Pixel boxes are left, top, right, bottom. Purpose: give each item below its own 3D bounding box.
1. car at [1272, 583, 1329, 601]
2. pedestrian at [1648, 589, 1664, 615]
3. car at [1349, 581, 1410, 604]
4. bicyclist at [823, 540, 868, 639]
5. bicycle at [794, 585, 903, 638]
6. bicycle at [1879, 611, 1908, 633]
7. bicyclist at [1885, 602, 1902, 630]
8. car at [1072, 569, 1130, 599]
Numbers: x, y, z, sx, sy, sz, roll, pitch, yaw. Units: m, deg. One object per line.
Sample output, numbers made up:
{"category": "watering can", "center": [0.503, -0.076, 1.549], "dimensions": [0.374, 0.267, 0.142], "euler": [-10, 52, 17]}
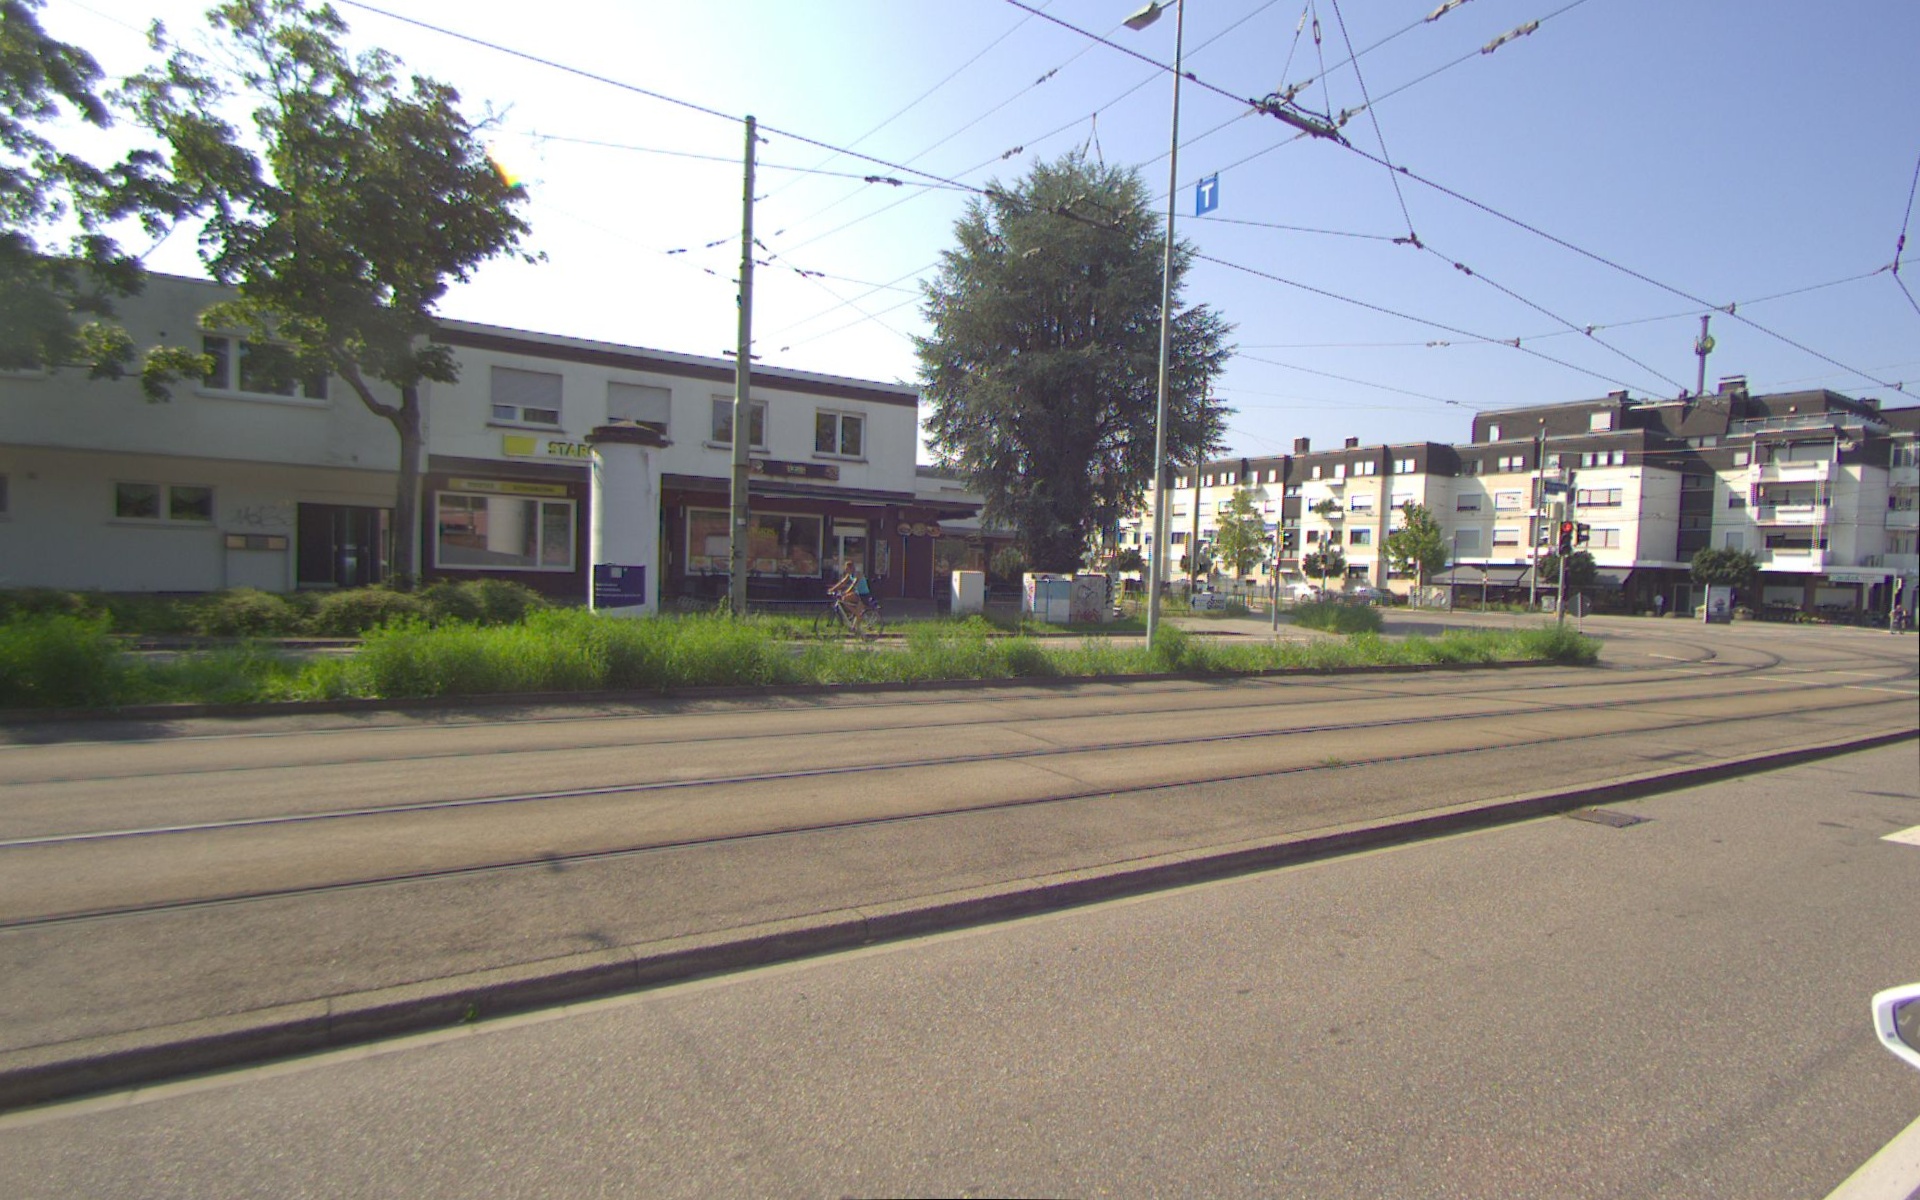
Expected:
{"category": "car", "center": [26.617, -0.635, 78.592], "dimensions": [1.655, 1.317, 4.085], "euler": [1, 0, -33]}
{"category": "pedestrian", "center": [47.473, 0.138, 68.499], "dimensions": [0.690, 1.764, 0.676], "euler": [1, 1, -31]}
{"category": "car", "center": [33.227, -0.629, 79.690], "dimensions": [1.909, 1.527, 4.084], "euler": [1, 3, -33]}
{"category": "bicyclist", "center": [-2.480, -0.213, 21.676], "dimensions": [0.764, 2.092, 0.635], "euler": [1, 1, -25]}
{"category": "bicycle", "center": [-2.403, 0.255, 21.719], "dimensions": [2.238, 1.106, 0.712], "euler": [1, 1, -29]}
{"category": "bicycle", "center": [52.556, 1.237, 56.550], "dimensions": [2.182, 1.195, 0.572], "euler": [1, 1, -31]}
{"category": "bicyclist", "center": [52.557, 0.903, 56.541], "dimensions": [0.484, 1.543, 0.565], "euler": [1, 1, -31]}
{"category": "car", "center": [9.742, -1.129, 69.636], "dimensions": [1.802, 1.912, 3.993], "euler": [1, 3, -30]}
